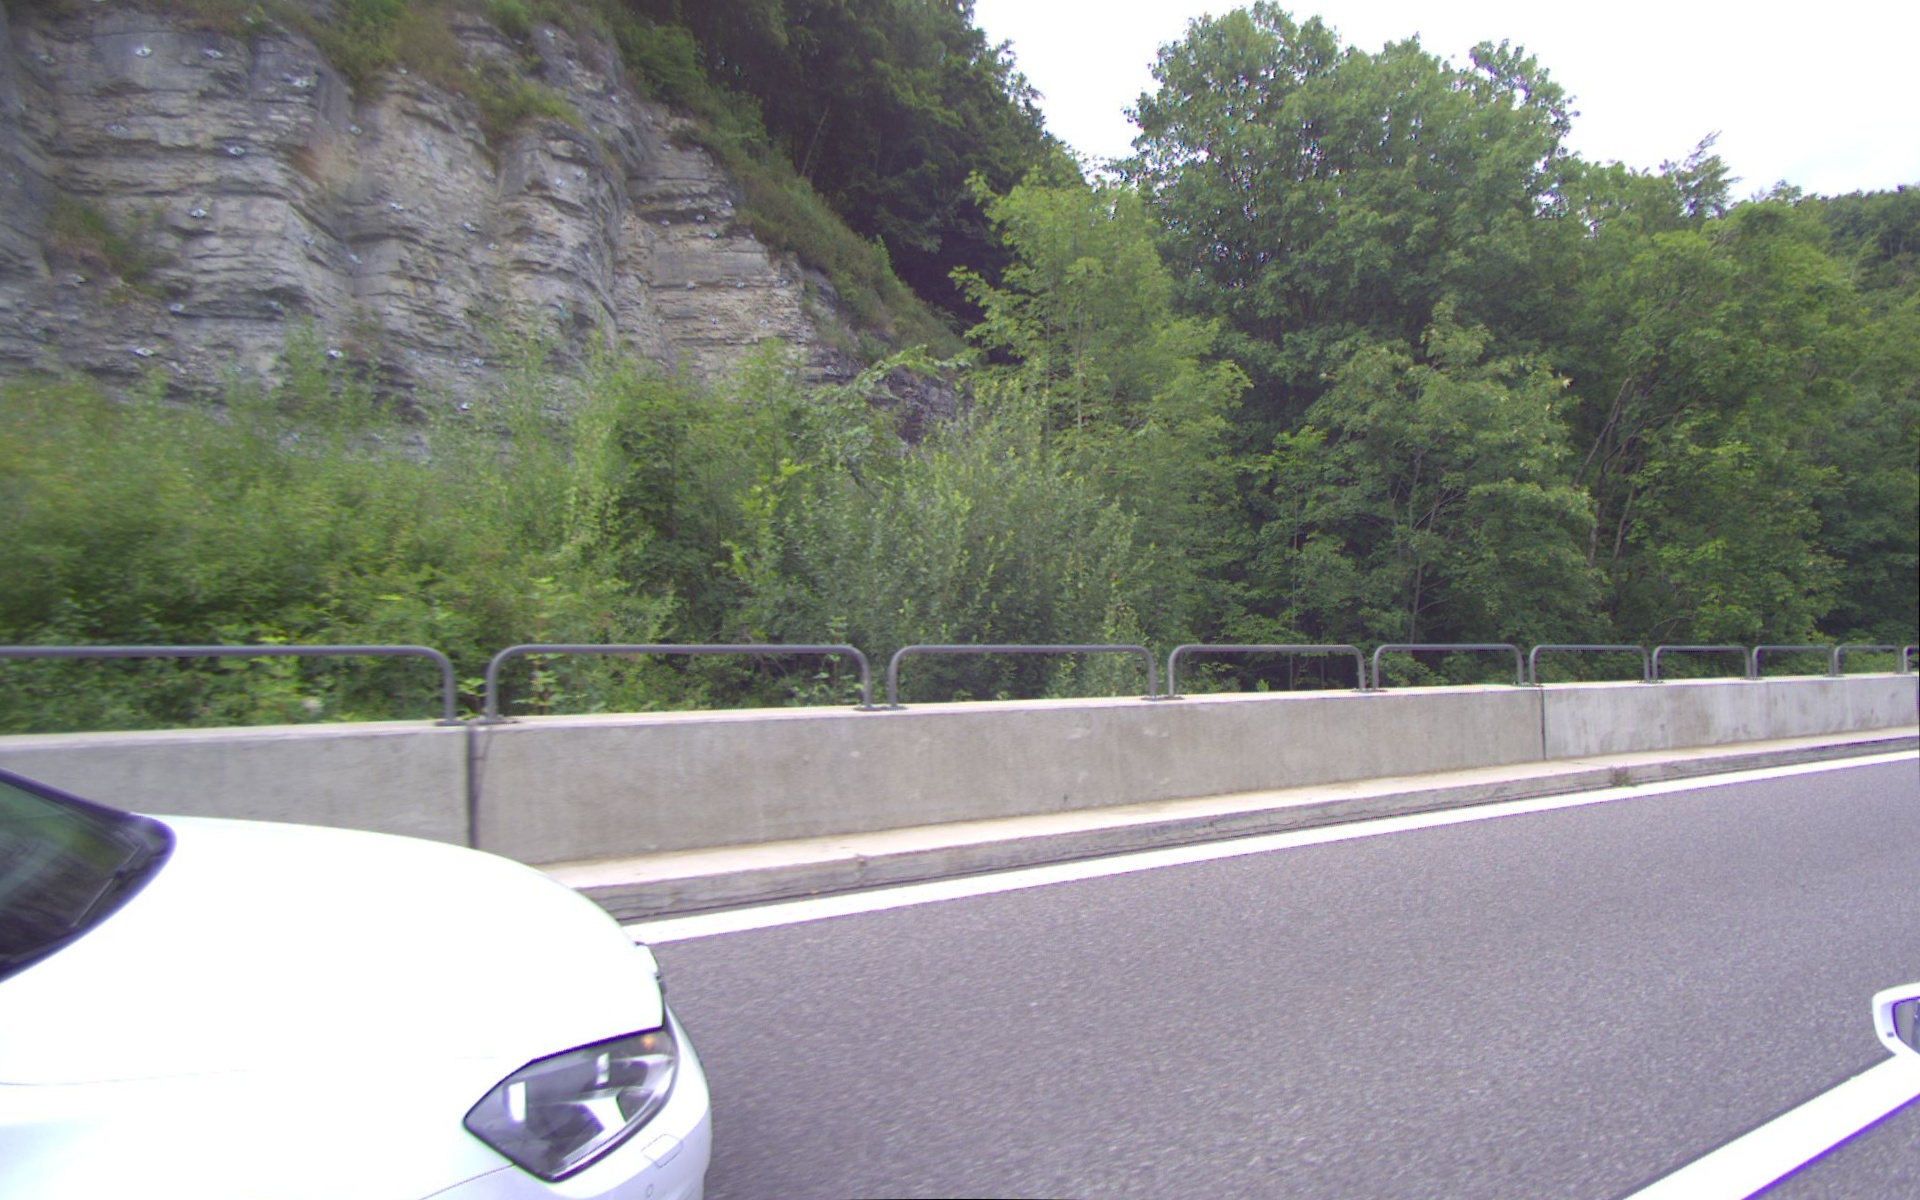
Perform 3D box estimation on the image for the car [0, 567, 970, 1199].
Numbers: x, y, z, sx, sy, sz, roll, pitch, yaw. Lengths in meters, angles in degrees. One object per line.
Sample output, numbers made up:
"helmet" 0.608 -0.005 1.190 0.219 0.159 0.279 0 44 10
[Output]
"car" -2.408 0.725 1.423 4.572 1.501 1.837 1 -1 -30
